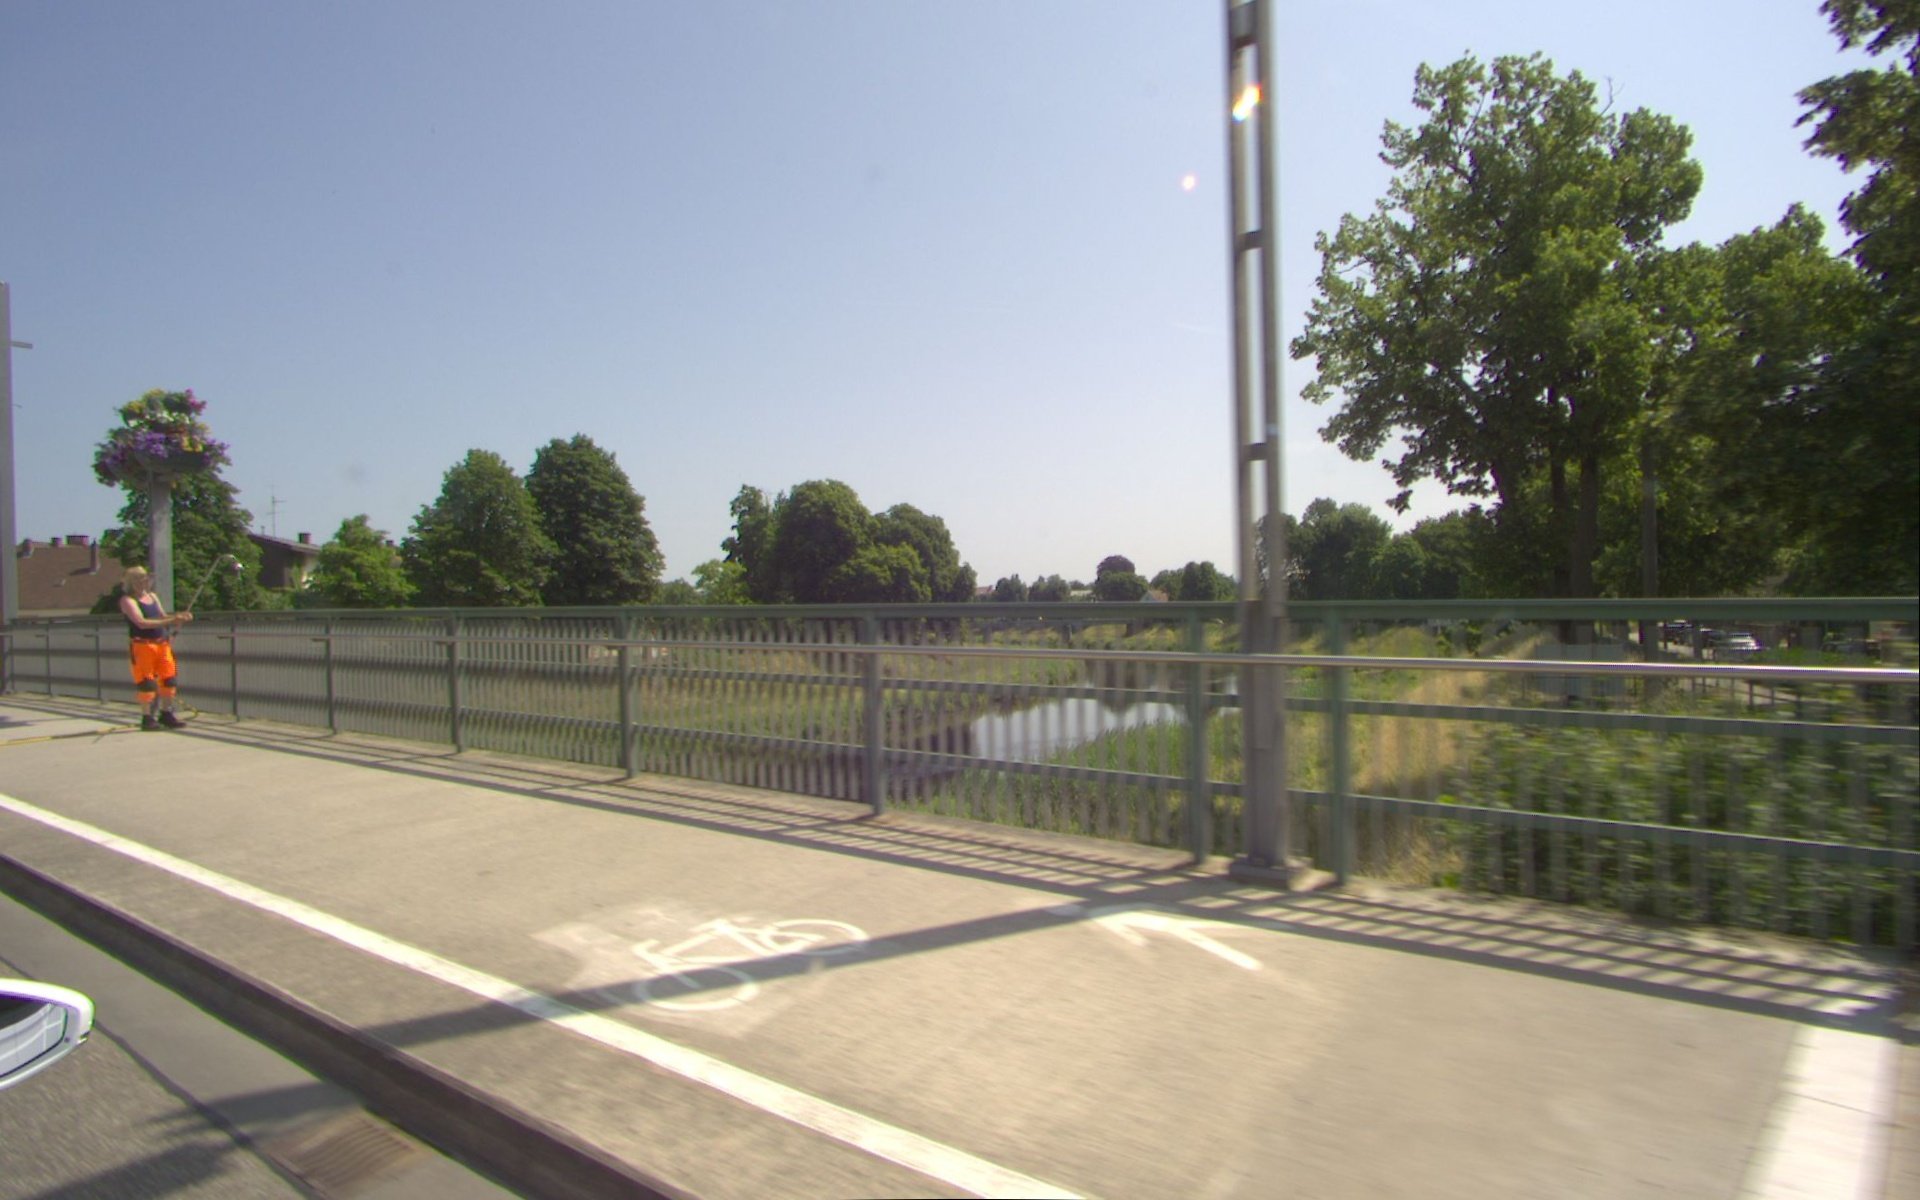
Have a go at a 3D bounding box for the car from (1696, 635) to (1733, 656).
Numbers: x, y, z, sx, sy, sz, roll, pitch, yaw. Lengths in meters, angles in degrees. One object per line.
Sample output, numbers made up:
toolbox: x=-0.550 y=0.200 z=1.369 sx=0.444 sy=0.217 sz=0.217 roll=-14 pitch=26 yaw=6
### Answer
car: x=59.131 y=3.521 z=78.514 sx=1.801 sy=1.572 sz=3.983 roll=0 pitch=-2 yaw=30

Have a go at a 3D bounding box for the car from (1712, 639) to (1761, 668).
car: x=43.991 y=3.003 z=56.791 sx=1.564 sy=1.572 sz=3.736 roll=0 pitch=-2 yaw=27

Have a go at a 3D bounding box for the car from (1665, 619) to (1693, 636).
car: x=68.910 y=2.641 z=95.997 sx=1.801 sy=1.571 sz=3.984 roll=0 pitch=-2 yaw=30

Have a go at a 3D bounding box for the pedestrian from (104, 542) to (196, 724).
pedestrian: x=-9.126 y=0.358 z=11.306 sx=0.662 sy=1.985 sz=0.546 roll=-1 pitch=0 yaw=-27

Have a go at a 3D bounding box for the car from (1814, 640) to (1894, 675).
car: x=43.123 y=2.747 z=48.397 sx=1.798 sy=1.572 sz=3.988 roll=0 pitch=-2 yaw=25
